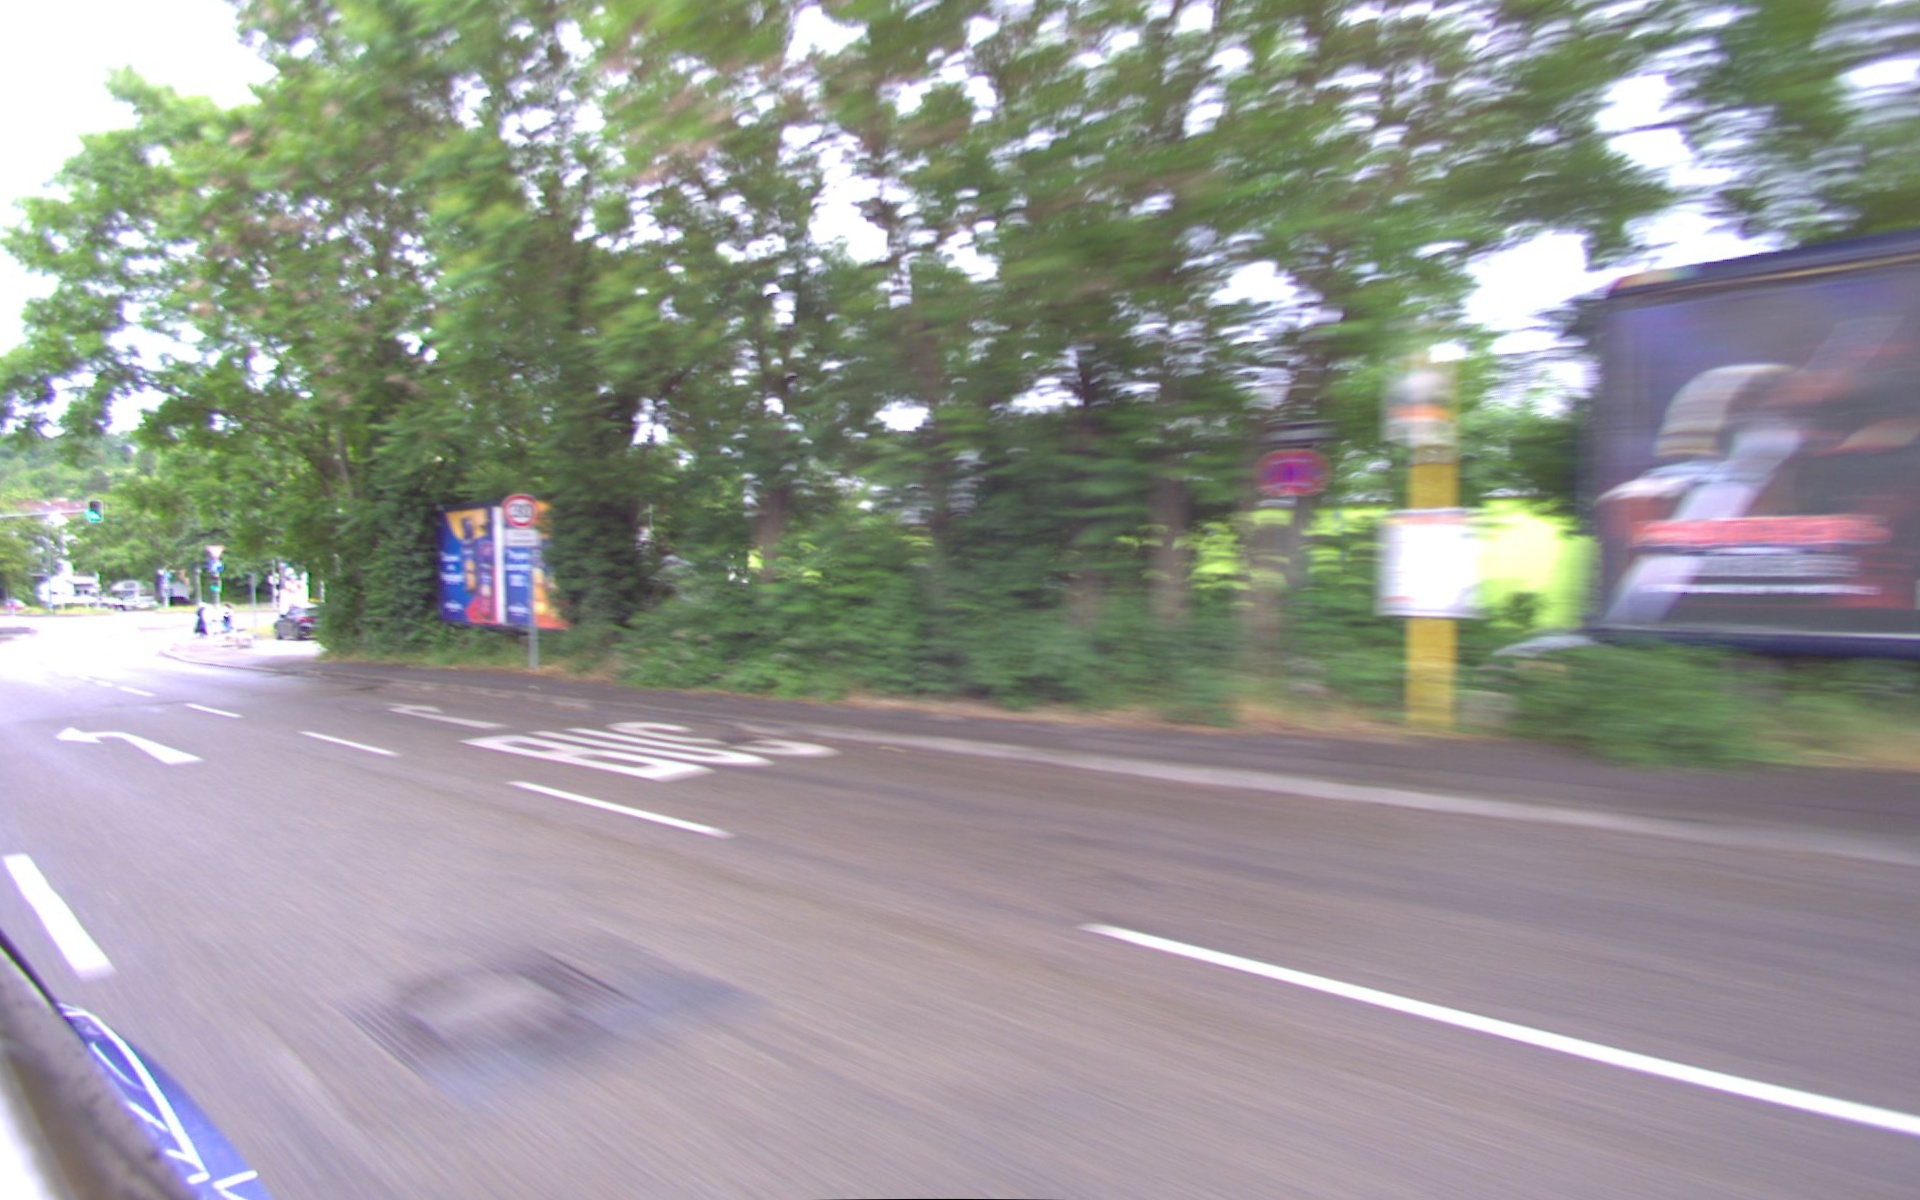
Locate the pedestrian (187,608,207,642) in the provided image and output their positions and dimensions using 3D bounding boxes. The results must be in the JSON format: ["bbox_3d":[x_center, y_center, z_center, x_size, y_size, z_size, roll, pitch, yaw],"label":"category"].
[{"bbox_3d":[-37.077,1.225,49.205,0.647,1.614,0.679,-4,2,-34],"label":"pedestrian"}]

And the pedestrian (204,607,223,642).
[{"bbox_3d":[-36.121,1.170,48.972,0.597,1.614,0.679,-4,2,-34],"label":"pedestrian"}]

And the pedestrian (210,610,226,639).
[{"bbox_3d":[-40.365,1.322,55.061,0.583,1.543,0.669,-4,2,-40],"label":"pedestrian"}]

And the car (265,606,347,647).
[{"bbox_3d":[-26.454,1.032,40.908,4.234,1.459,1.728,0,3,43],"label":"car"}]

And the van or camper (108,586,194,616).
[{"bbox_3d":[-78.485,0.084,98.237,6.335,2.775,2.433,-2,1,-44],"label":"van or camper"}]

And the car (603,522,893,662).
[{"bbox_3d":[-4.434,-0.159,21.444,5.549,2.551,2.105,-3,1,13],"label":"car"}]

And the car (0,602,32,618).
[{"bbox_3d":[-88.632,0.920,93.617,1.679,1.364,3.942,0,1,44],"label":"car"}]

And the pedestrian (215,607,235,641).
[{"bbox_3d":[-35.720,1.165,49.190,0.647,1.614,0.679,-4,2,-34],"label":"pedestrian"}]
